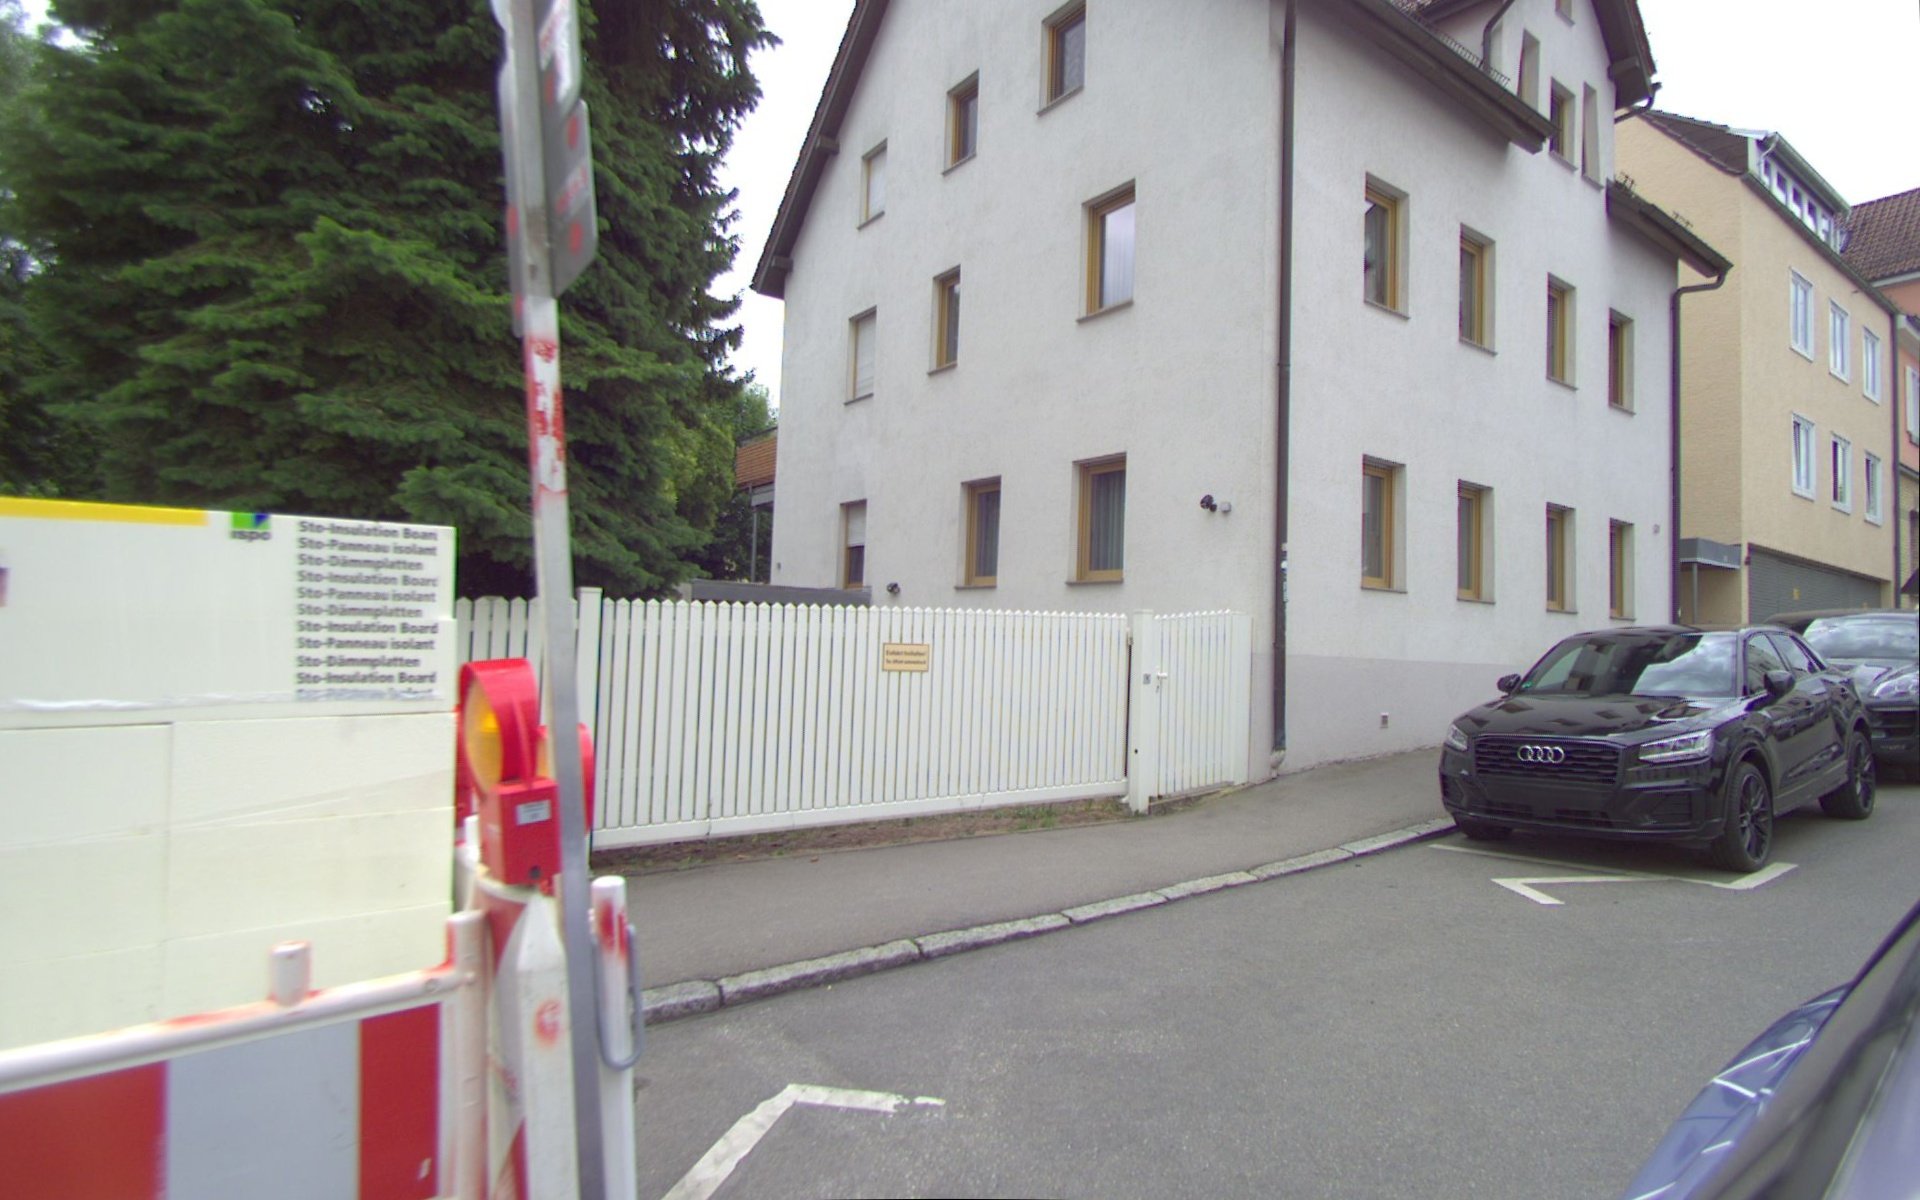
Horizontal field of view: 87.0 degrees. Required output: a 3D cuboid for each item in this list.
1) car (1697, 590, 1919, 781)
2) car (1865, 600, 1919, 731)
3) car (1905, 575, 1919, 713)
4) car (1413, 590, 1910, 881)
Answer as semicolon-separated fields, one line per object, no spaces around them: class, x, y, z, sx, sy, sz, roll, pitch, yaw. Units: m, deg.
car;9.478;0.783;10.520;4.415;1.617;1.717;1;-3;-38
car;13.087;0.818;13.114;2.739;1.617;1.490;1;-3;-37
car;17.056;0.652;16.086;5.625;2.056;1.910;1;-3;-36
car;5.252;0.796;7.426;3.996;1.586;1.720;1;-3;-36
